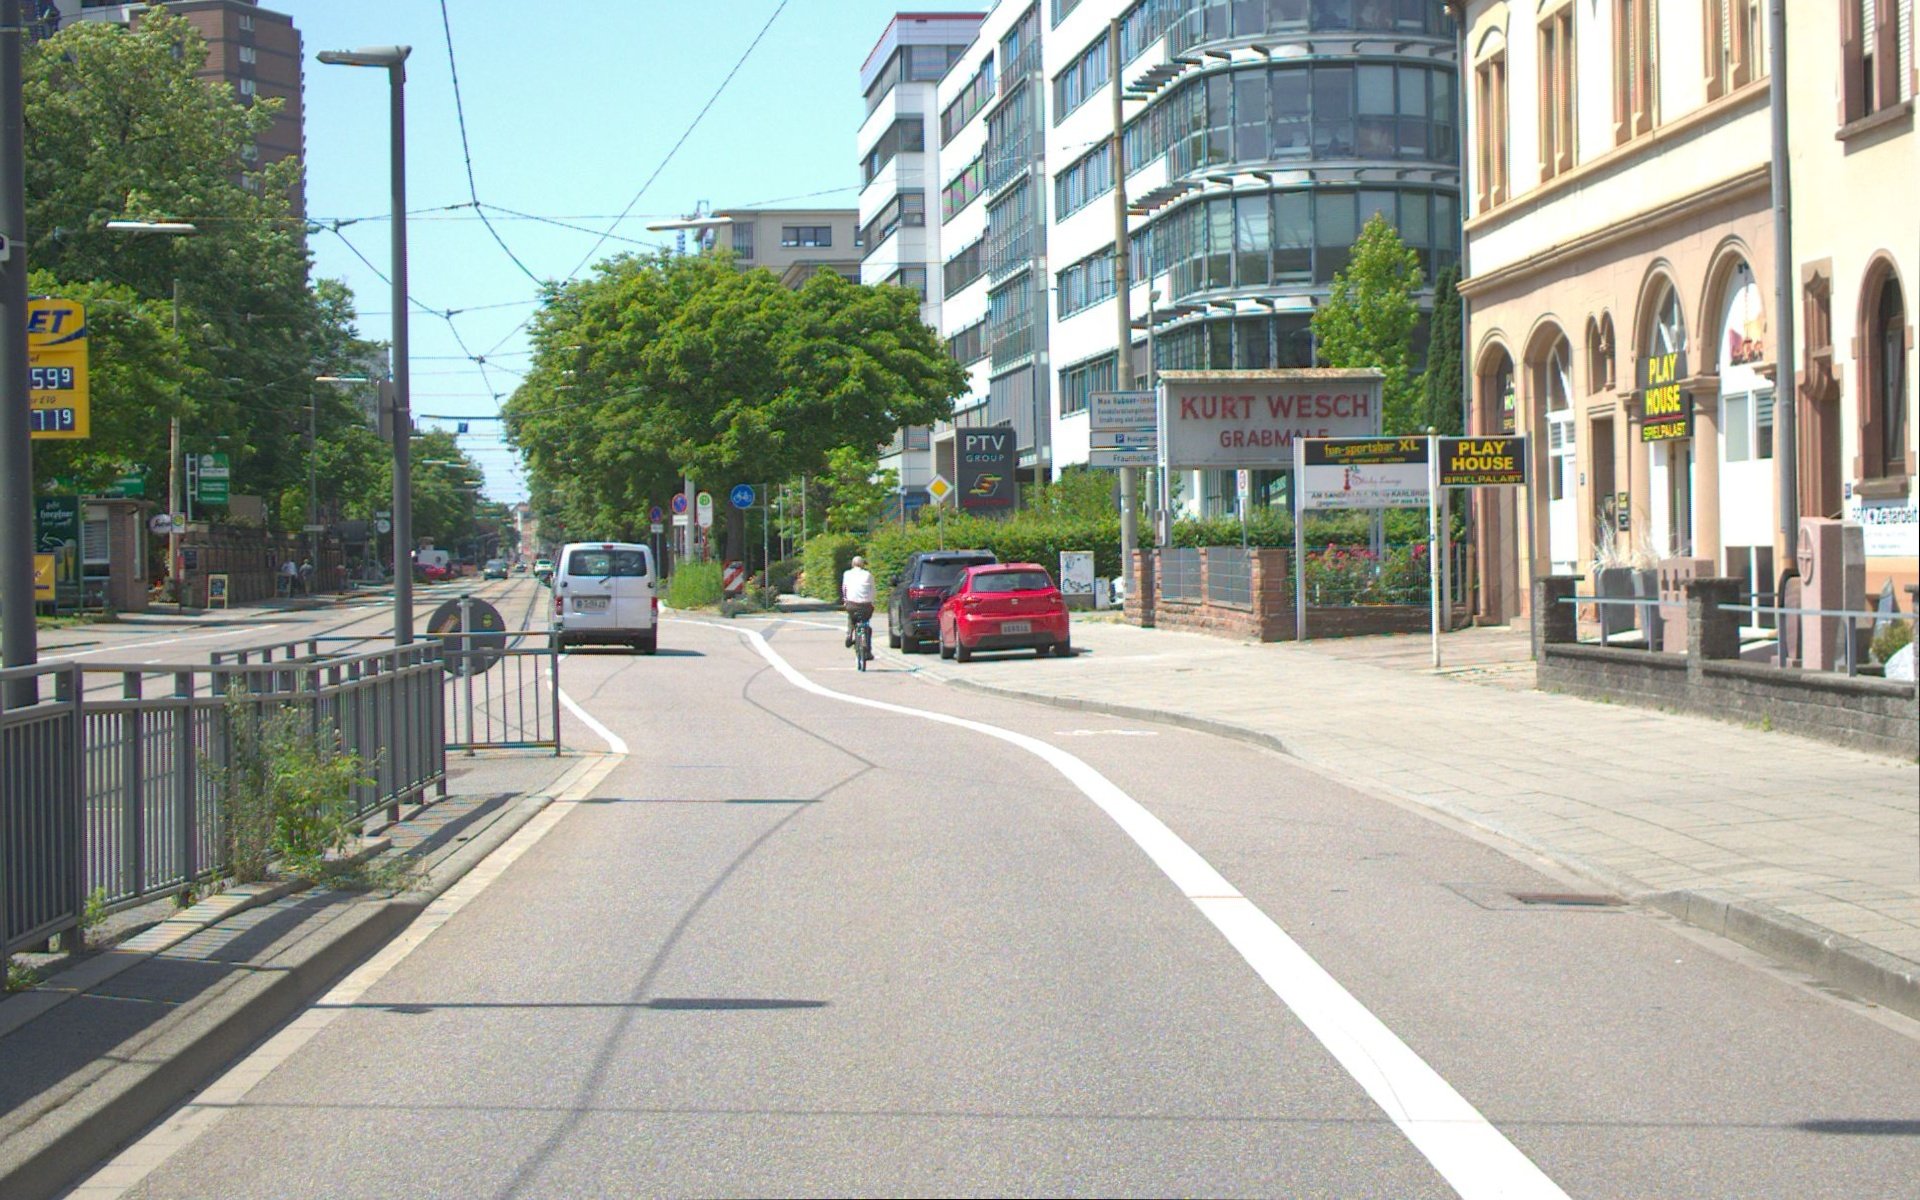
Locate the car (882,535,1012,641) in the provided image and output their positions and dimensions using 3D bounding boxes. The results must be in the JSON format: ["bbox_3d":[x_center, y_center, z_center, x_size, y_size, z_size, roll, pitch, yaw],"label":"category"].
[{"bbox_3d":[-0.266,-0.246,59.052,1.863,1.681,5.001,-2,1,-4],"label":"car"}]

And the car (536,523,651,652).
[{"bbox_3d":[-6.199,-0.249,57.906,1.752,2.006,4.001,-2,2,-7],"label":"car"}]

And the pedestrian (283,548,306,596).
[{"bbox_3d":[-28.673,-1.208,148.034,0.863,2.007,0.646,-3,0,-9],"label":"pedestrian"}]

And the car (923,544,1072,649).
[{"bbox_3d":[0.535,-0.091,52.753,1.711,1.447,4.073,-3,1,-6],"label":"car"}]

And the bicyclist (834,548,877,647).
[{"bbox_3d":[-1.500,-0.043,49.290,0.591,1.392,0.842,-1,1,-3],"label":"bicyclist"}]

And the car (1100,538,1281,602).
[{"bbox_3d":[5.146,-0.688,76.975,3.798,1.270,1.556,-2,1,-6],"label":"car"}]

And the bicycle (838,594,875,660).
[{"bbox_3d":[-1.493,0.373,49.342,0.465,0.884,2.048,-1,1,-3],"label":"bicycle"}]
